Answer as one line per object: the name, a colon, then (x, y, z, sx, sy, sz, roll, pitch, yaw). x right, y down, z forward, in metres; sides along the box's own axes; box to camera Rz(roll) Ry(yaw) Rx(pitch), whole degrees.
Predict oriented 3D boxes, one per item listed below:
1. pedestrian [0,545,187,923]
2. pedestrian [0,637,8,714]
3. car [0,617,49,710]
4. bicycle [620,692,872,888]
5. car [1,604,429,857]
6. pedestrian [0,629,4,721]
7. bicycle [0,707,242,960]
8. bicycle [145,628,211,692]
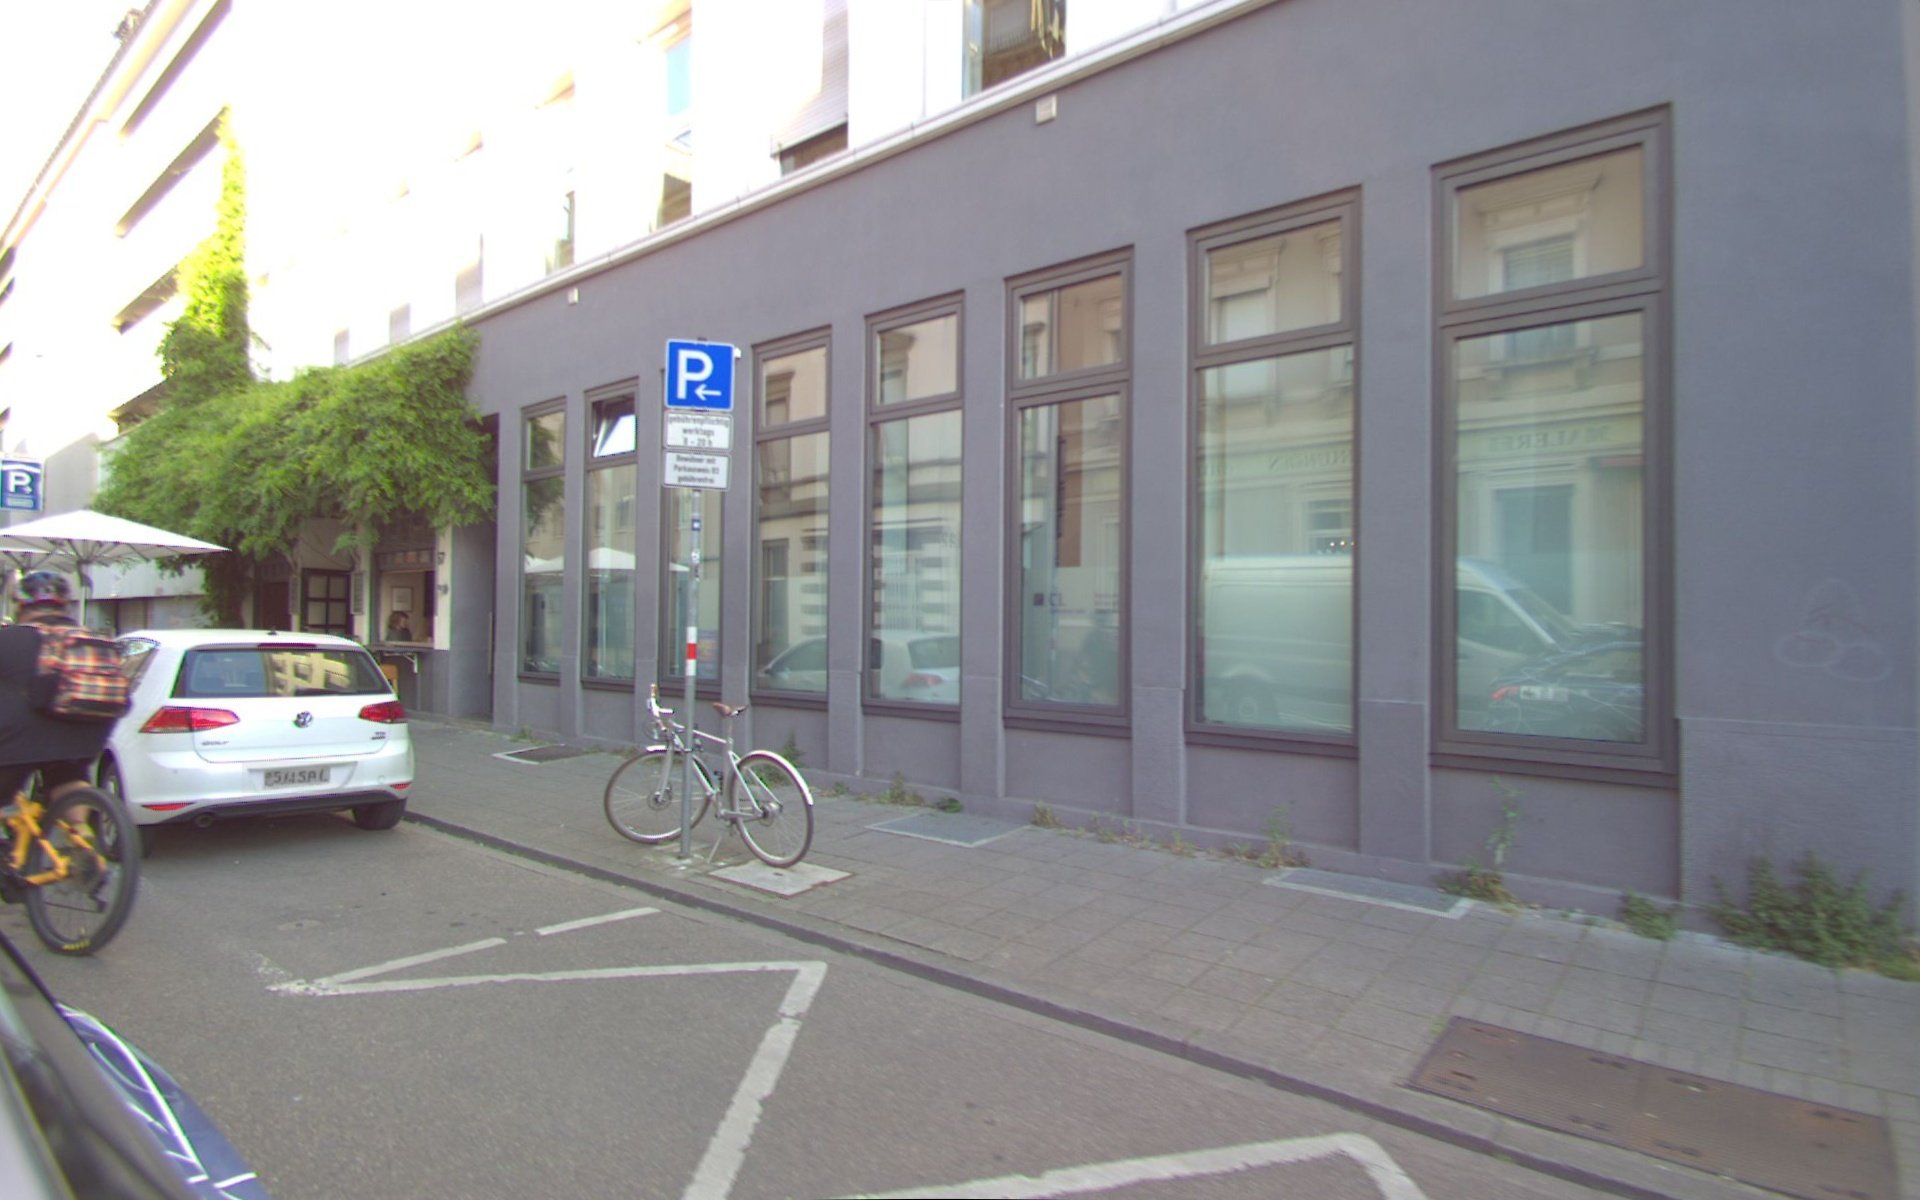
pedestrian: (-4.407, 0.560, 4.638, 1.069, 1.557, 0.830, 0, -2, 5)
pedestrian: (-14.758, 1.136, 15.068, 0.544, 1.174, 0.743, 1, -2, -18)
car: (-18.486, 1.094, 18.480, 4.764, 1.580, 1.863, -1, -4, 38)
bicycle: (-1.306, 1.054, 6.011, 1.643, 0.912, 0.590, -1, -2, 41)
car: (-5.706, 0.771, 7.591, 3.878, 1.424, 1.641, -1, -2, 39)
pedestrian: (-14.144, 1.058, 14.310, 0.915, 1.297, 0.773, -1, -3, 40)
bicycle: (-4.454, 1.029, 4.678, 1.956, 1.015, 0.539, 0, -2, 5)
bicycle: (-14.990, 1.120, 19.384, 1.793, 1.169, 0.636, -1, -2, 41)
